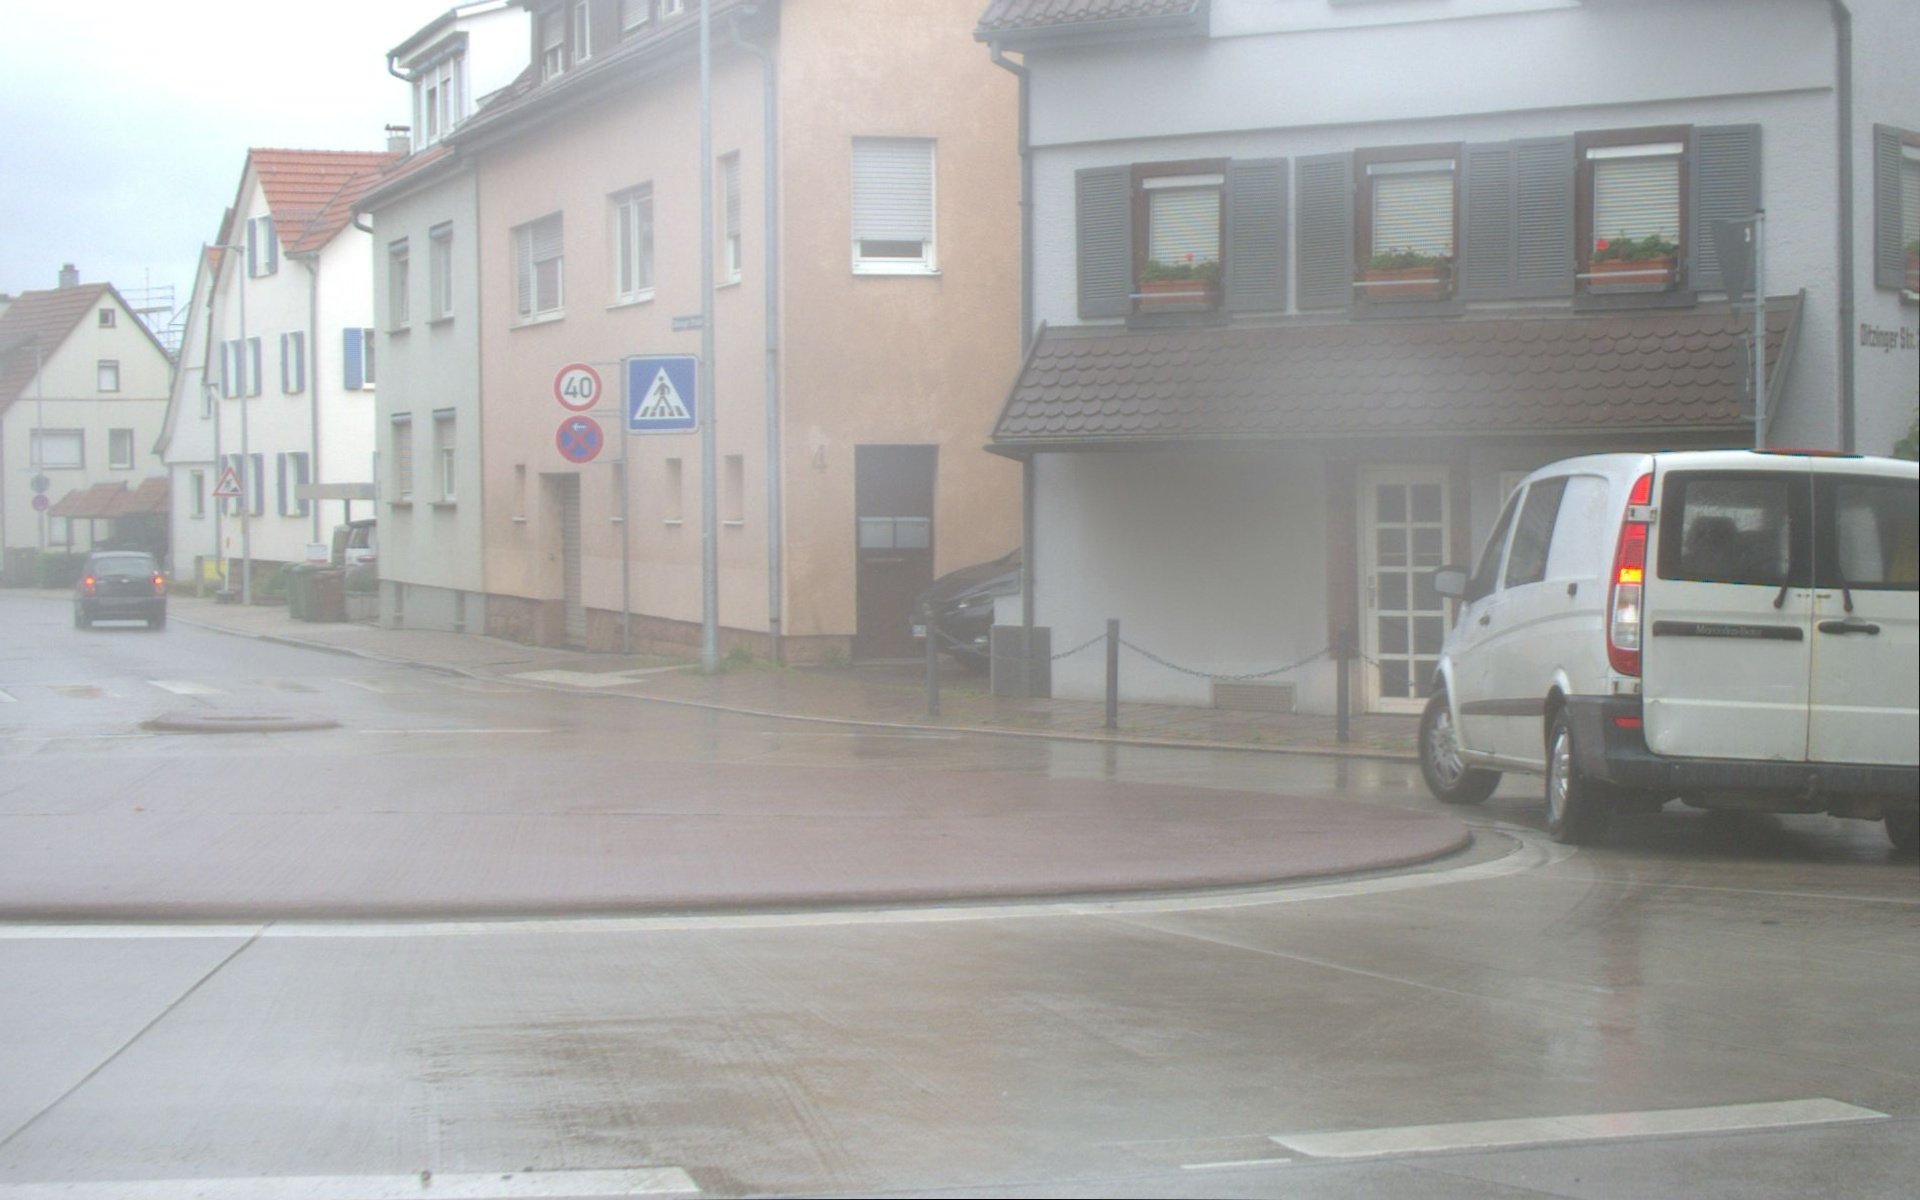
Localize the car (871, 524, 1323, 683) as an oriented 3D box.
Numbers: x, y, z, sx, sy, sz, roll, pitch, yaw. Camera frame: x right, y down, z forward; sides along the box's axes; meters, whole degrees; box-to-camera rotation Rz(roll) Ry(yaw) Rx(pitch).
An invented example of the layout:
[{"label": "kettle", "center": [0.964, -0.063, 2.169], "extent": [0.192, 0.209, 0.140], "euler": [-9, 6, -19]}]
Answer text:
[{"label": "car", "center": [1.345, 0.028, 33.916], "extent": [3.986, 1.481, 2.000], "euler": [0, 0, -23]}]

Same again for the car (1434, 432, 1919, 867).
[{"label": "car", "center": [3.724, 0.213, 17.449], "extent": [2.153, 1.892, 4.925], "euler": [0, 0, 2]}]

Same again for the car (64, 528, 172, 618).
[{"label": "car", "center": [-16.315, -0.508, 66.634], "extent": [1.972, 1.674, 4.069], "euler": [0, 0, -14]}]
